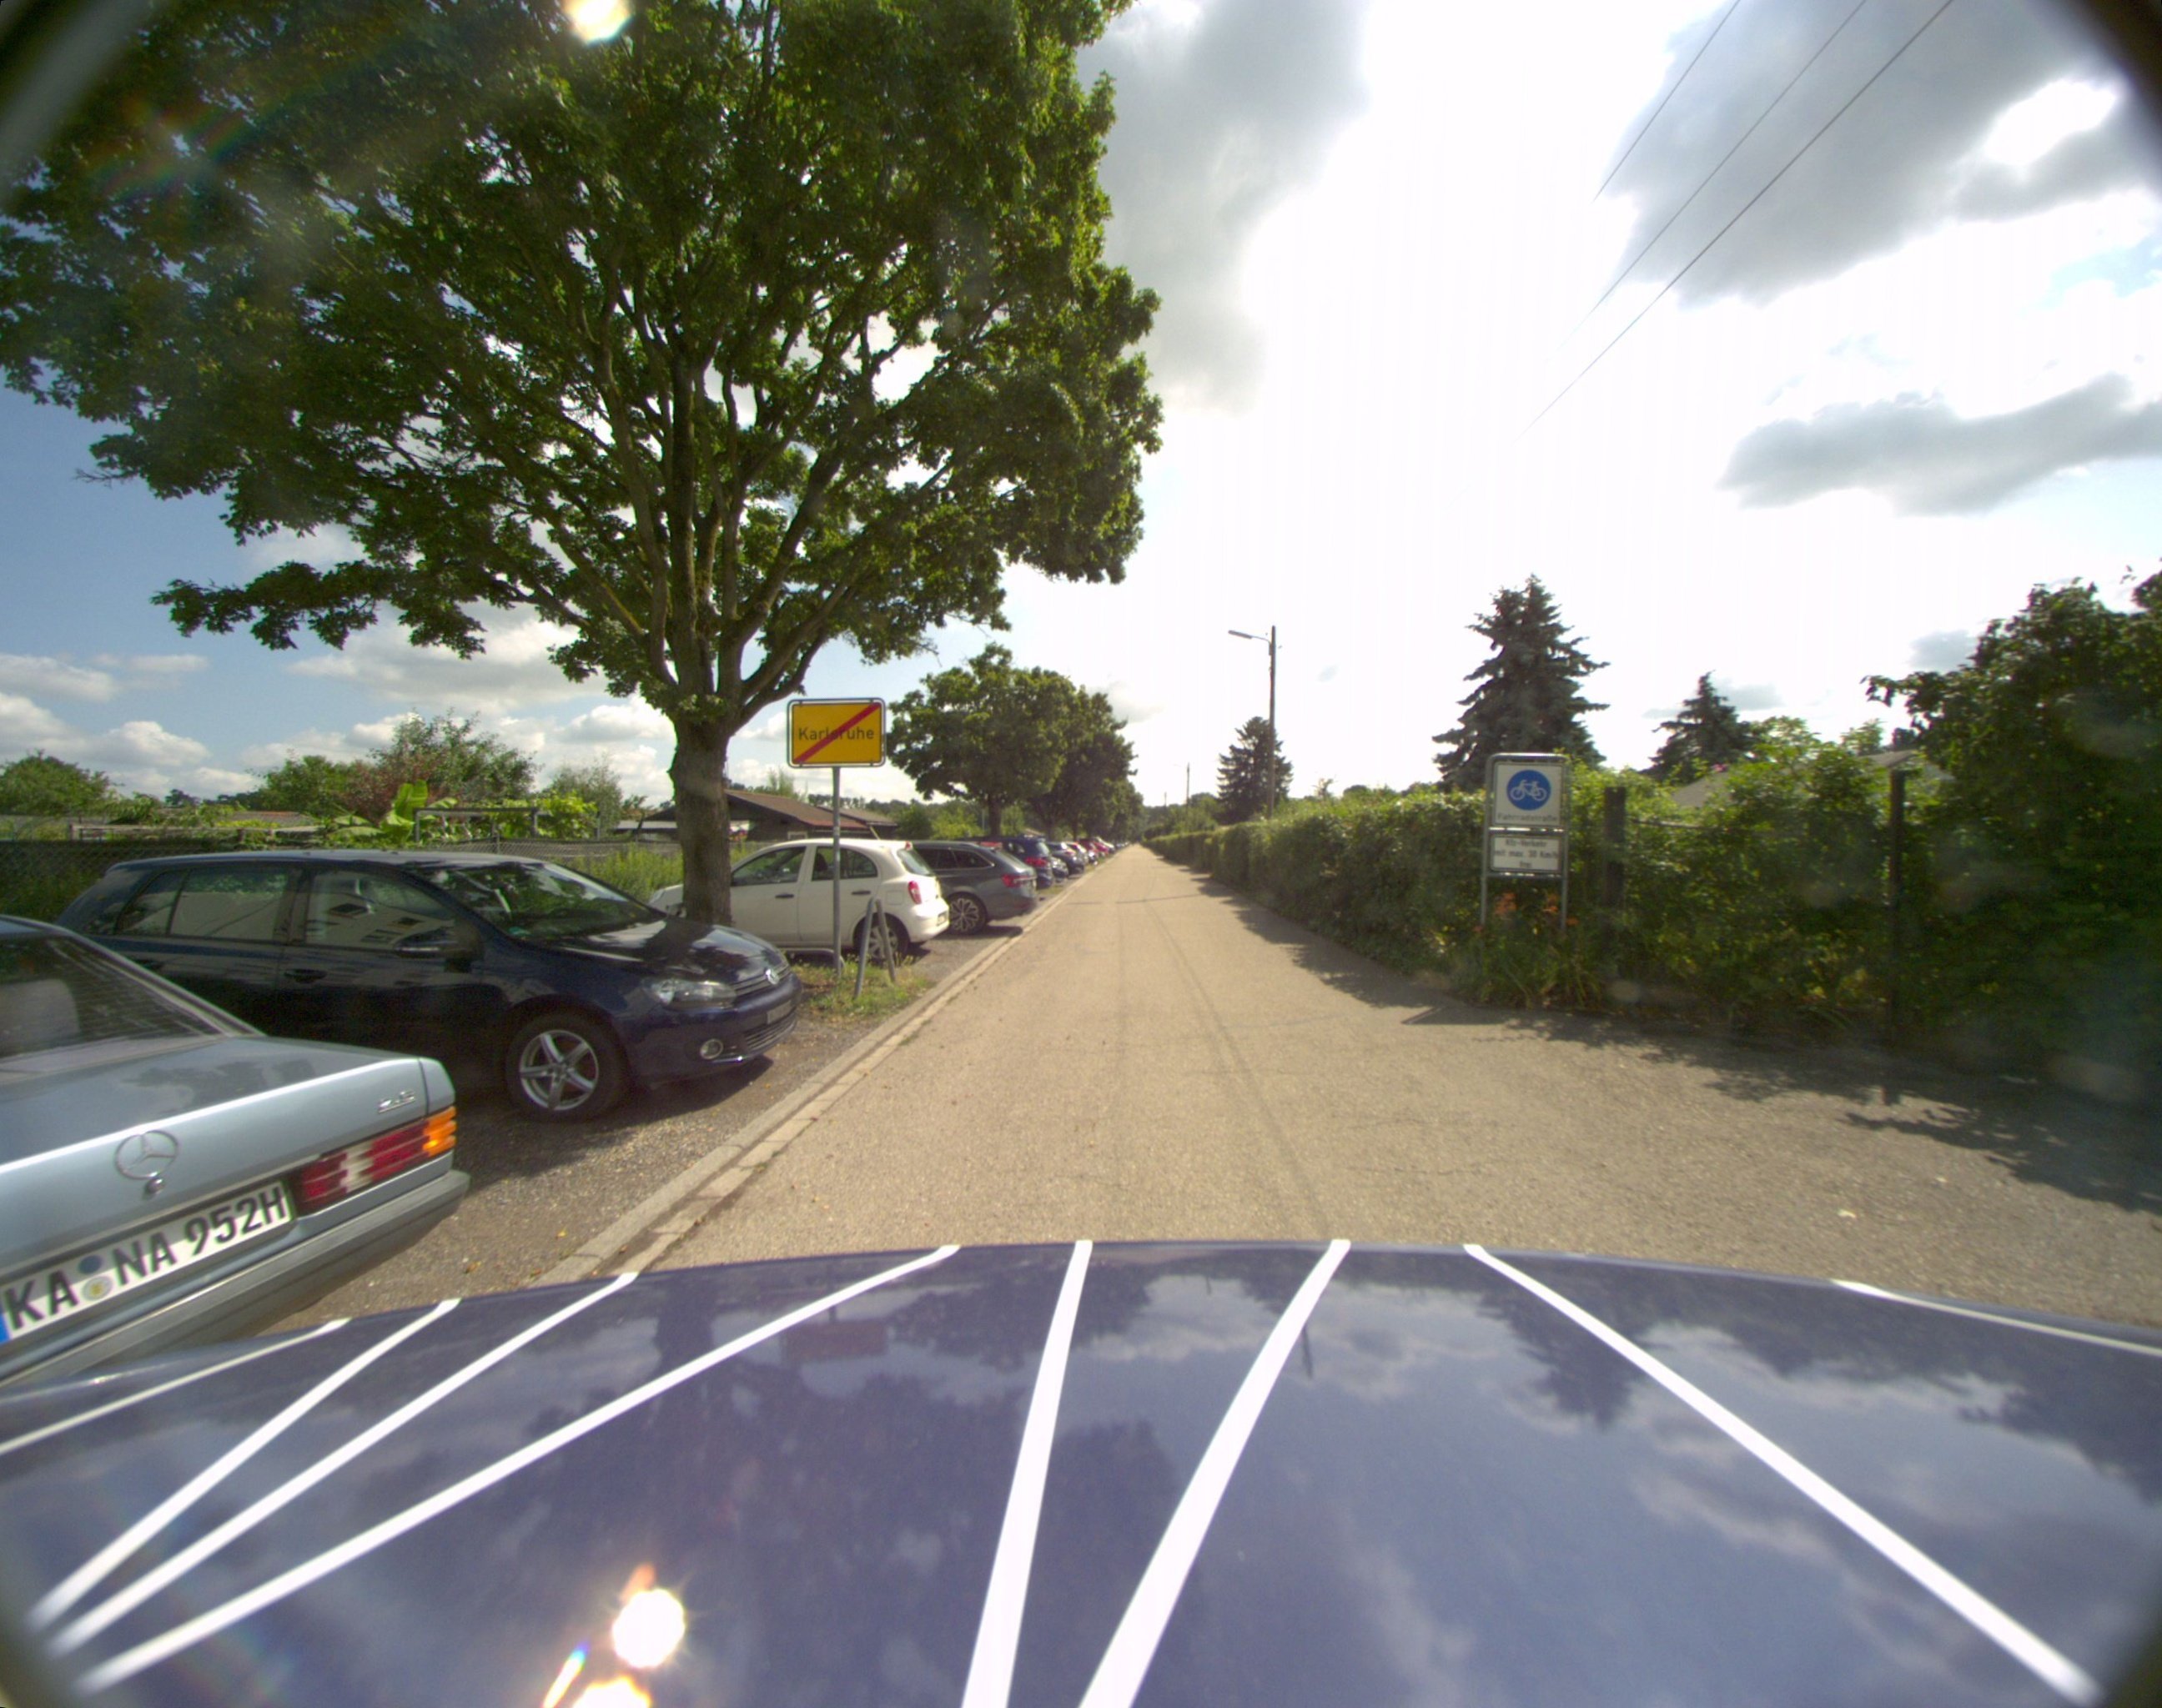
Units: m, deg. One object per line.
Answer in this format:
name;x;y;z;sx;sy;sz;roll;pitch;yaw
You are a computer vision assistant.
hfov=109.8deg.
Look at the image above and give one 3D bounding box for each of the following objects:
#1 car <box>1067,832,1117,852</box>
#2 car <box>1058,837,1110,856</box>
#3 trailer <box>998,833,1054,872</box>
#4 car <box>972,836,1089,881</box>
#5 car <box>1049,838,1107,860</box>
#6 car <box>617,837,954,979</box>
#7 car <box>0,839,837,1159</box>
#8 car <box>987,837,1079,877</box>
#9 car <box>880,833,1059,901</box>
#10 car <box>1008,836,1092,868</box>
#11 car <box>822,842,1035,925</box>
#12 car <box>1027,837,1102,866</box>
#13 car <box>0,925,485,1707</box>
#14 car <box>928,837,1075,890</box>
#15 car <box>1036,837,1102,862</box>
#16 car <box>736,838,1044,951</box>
car;1.040;-1.136;72.198;4.645;1.876;2.111;0;2;2
car;0.287;-0.639;64.595;4.192;1.496;1.878;-2;2;5
trailer;-2.534;-0.085;35.453;2.456;1.710;1.518;-2;1;0
car;-1.912;0.144;29.873;4.312;1.585;2.000;-2;2;4
car;-0.202;-0.384;57.394;4.249;1.420;1.908;-2;2;0
car;-3.599;0.616;9.729;3.582;1.540;1.666;-2;2;1
car;-3.876;0.756;4.846;3.942;1.551;1.867;-2;2;3
car;-1.983;0.089;32.530;3.732;1.531;1.849;-2;2;1
car;-2.740;0.296;19.313;4.163;1.628;1.879;0;2;5
car;-1.563;-0.104;39.627;4.072;1.503;1.958;-2;2;7
car;-2.935;0.541;15.176;3.818;1.524;1.762;0;2;4
car;-0.897;-0.157;43.057;4.075;1.447;1.869;-2;2;2
car;-4.116;0.954;1.757;4.366;1.384;1.719;0;2;8
car;-2.464;0.288;24.396;4.345;1.484;1.975;-2;2;3
car;-0.760;-0.302;49.763;3.995;1.511;1.855;-2;2;8
car;-2.968;0.602;12.545;4.560;1.570;1.808;-2;2;0
